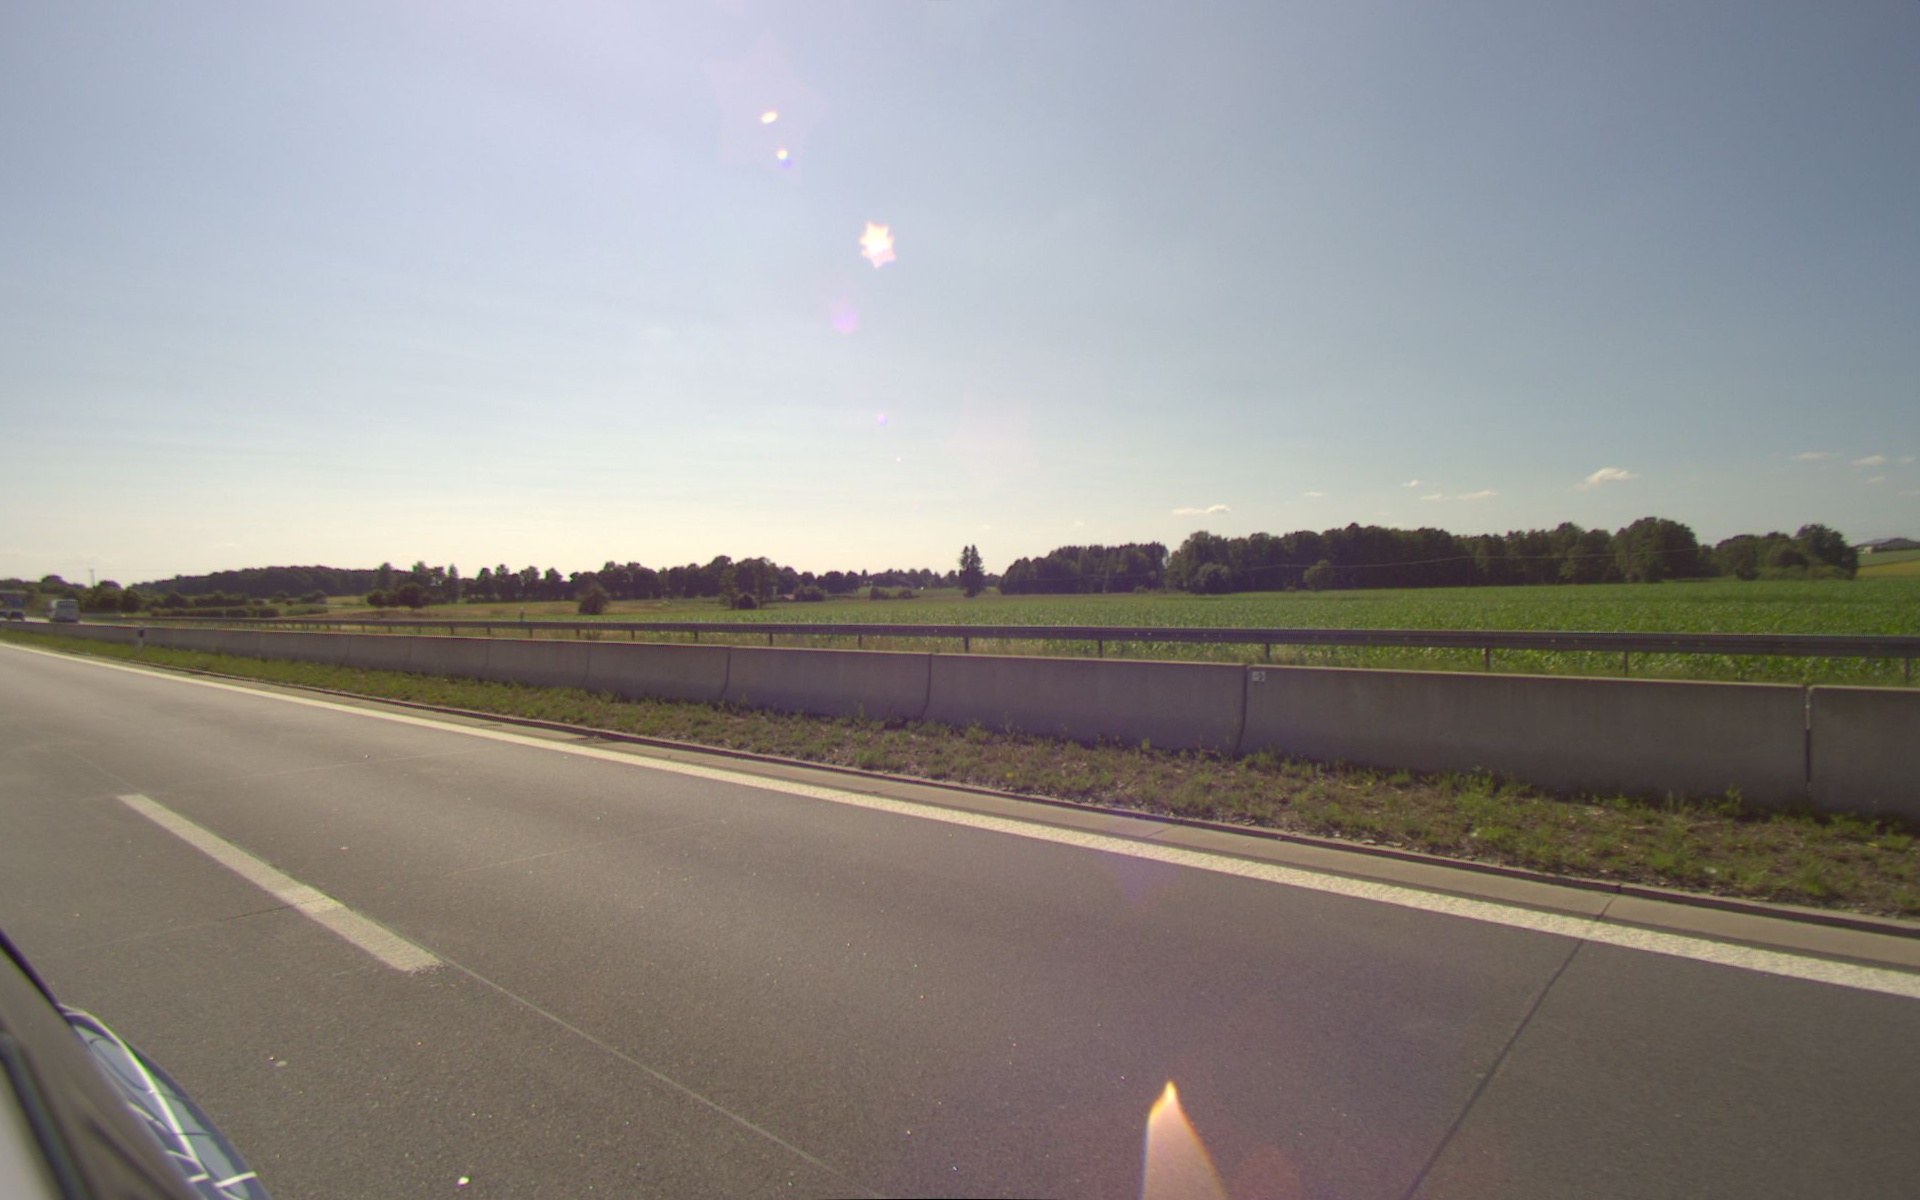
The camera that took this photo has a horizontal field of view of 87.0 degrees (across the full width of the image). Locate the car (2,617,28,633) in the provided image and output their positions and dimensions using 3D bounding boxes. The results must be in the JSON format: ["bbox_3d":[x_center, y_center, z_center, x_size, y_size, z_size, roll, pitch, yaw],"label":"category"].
[{"bbox_3d":[-134.160,3.533,143.681,5.455,2.261,2.360,-2,-2,44],"label":"car"}]

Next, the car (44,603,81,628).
[{"bbox_3d":[-92.127,1.614,103.857,5.455,2.578,2.360,-2,-2,44],"label":"car"}]
